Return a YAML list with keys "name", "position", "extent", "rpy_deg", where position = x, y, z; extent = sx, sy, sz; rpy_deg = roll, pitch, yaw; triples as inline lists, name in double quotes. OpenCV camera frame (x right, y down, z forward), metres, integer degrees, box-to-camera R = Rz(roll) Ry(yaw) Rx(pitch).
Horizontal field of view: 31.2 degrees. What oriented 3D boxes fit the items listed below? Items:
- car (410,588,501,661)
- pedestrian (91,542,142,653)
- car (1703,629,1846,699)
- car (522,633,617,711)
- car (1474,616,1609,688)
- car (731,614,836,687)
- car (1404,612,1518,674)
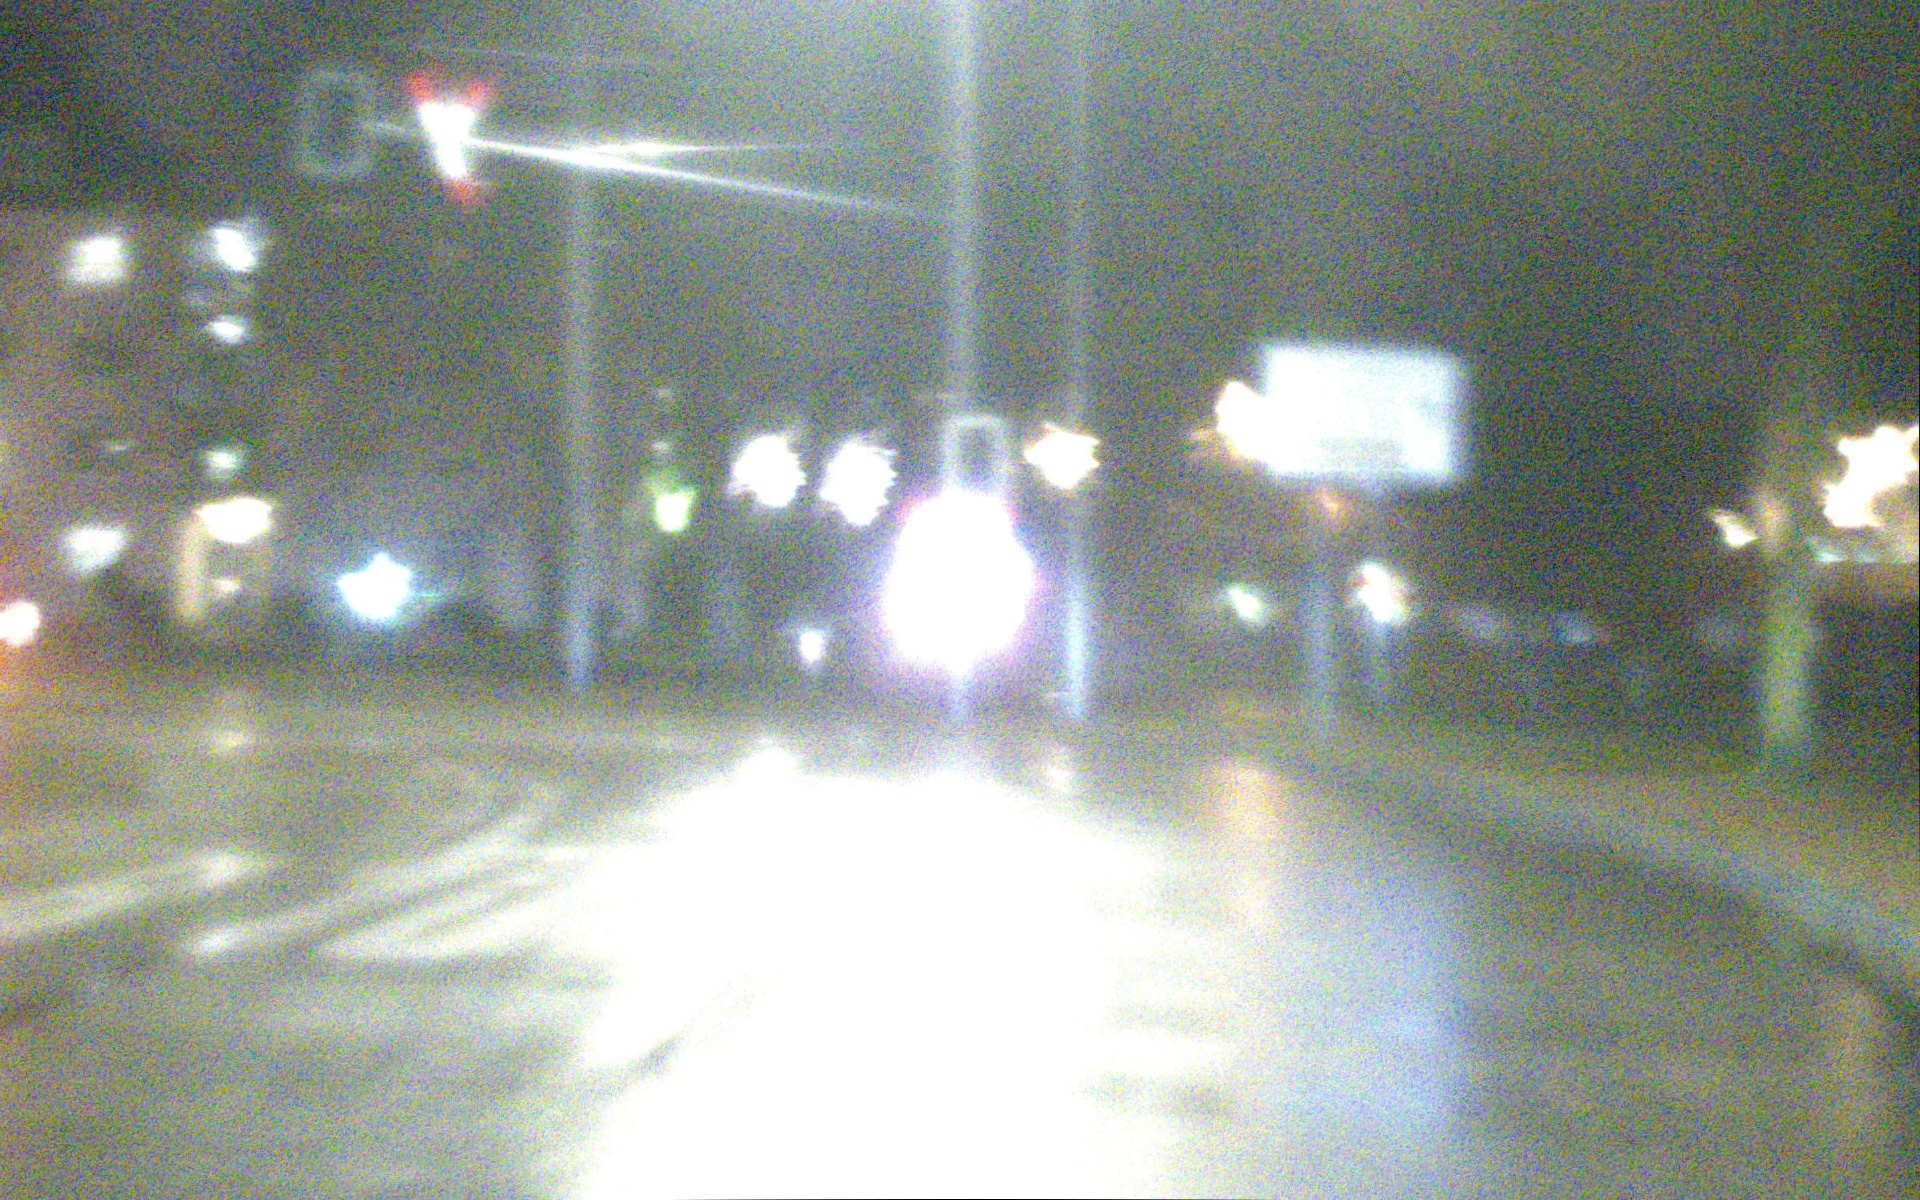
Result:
- name: "car"
  position: [-10.887, 0.533, 74.004]
  extent: [1.716, 1.492, 3.912]
  rpy_deg: [2, -1, -11]
- name: "pedestrian"
  position: [-14.731, -0.039, 60.024]
  extent: [0.652, 1.895, 0.729]
  rpy_deg: [2, -1, -27]
- name: "car"
  position: [18.635, 1.445, 78.826]
  extent: [1.716, 1.531, 3.912]
  rpy_deg: [2, -1, -11]
- name: "car"
  position: [-8.417, 1.573, 73.867]
  extent: [1.716, 1.492, 3.912]
  rpy_deg: [1, -4, -11]
- name: "car"
  position: [13.174, 1.169, 78.098]
  extent: [1.716, 1.531, 3.912]
  rpy_deg: [2, -1, -11]
- name: "car"
  position: [-3.873, 1.095, 74.953]
  extent: [1.716, 1.492, 3.912]
  rpy_deg: [2, -1, -11]
- name: "car"
  position: [13.028, 1.113, 89.617]
  extent: [1.716, 1.531, 3.912]
  rpy_deg: [2, -1, -11]
